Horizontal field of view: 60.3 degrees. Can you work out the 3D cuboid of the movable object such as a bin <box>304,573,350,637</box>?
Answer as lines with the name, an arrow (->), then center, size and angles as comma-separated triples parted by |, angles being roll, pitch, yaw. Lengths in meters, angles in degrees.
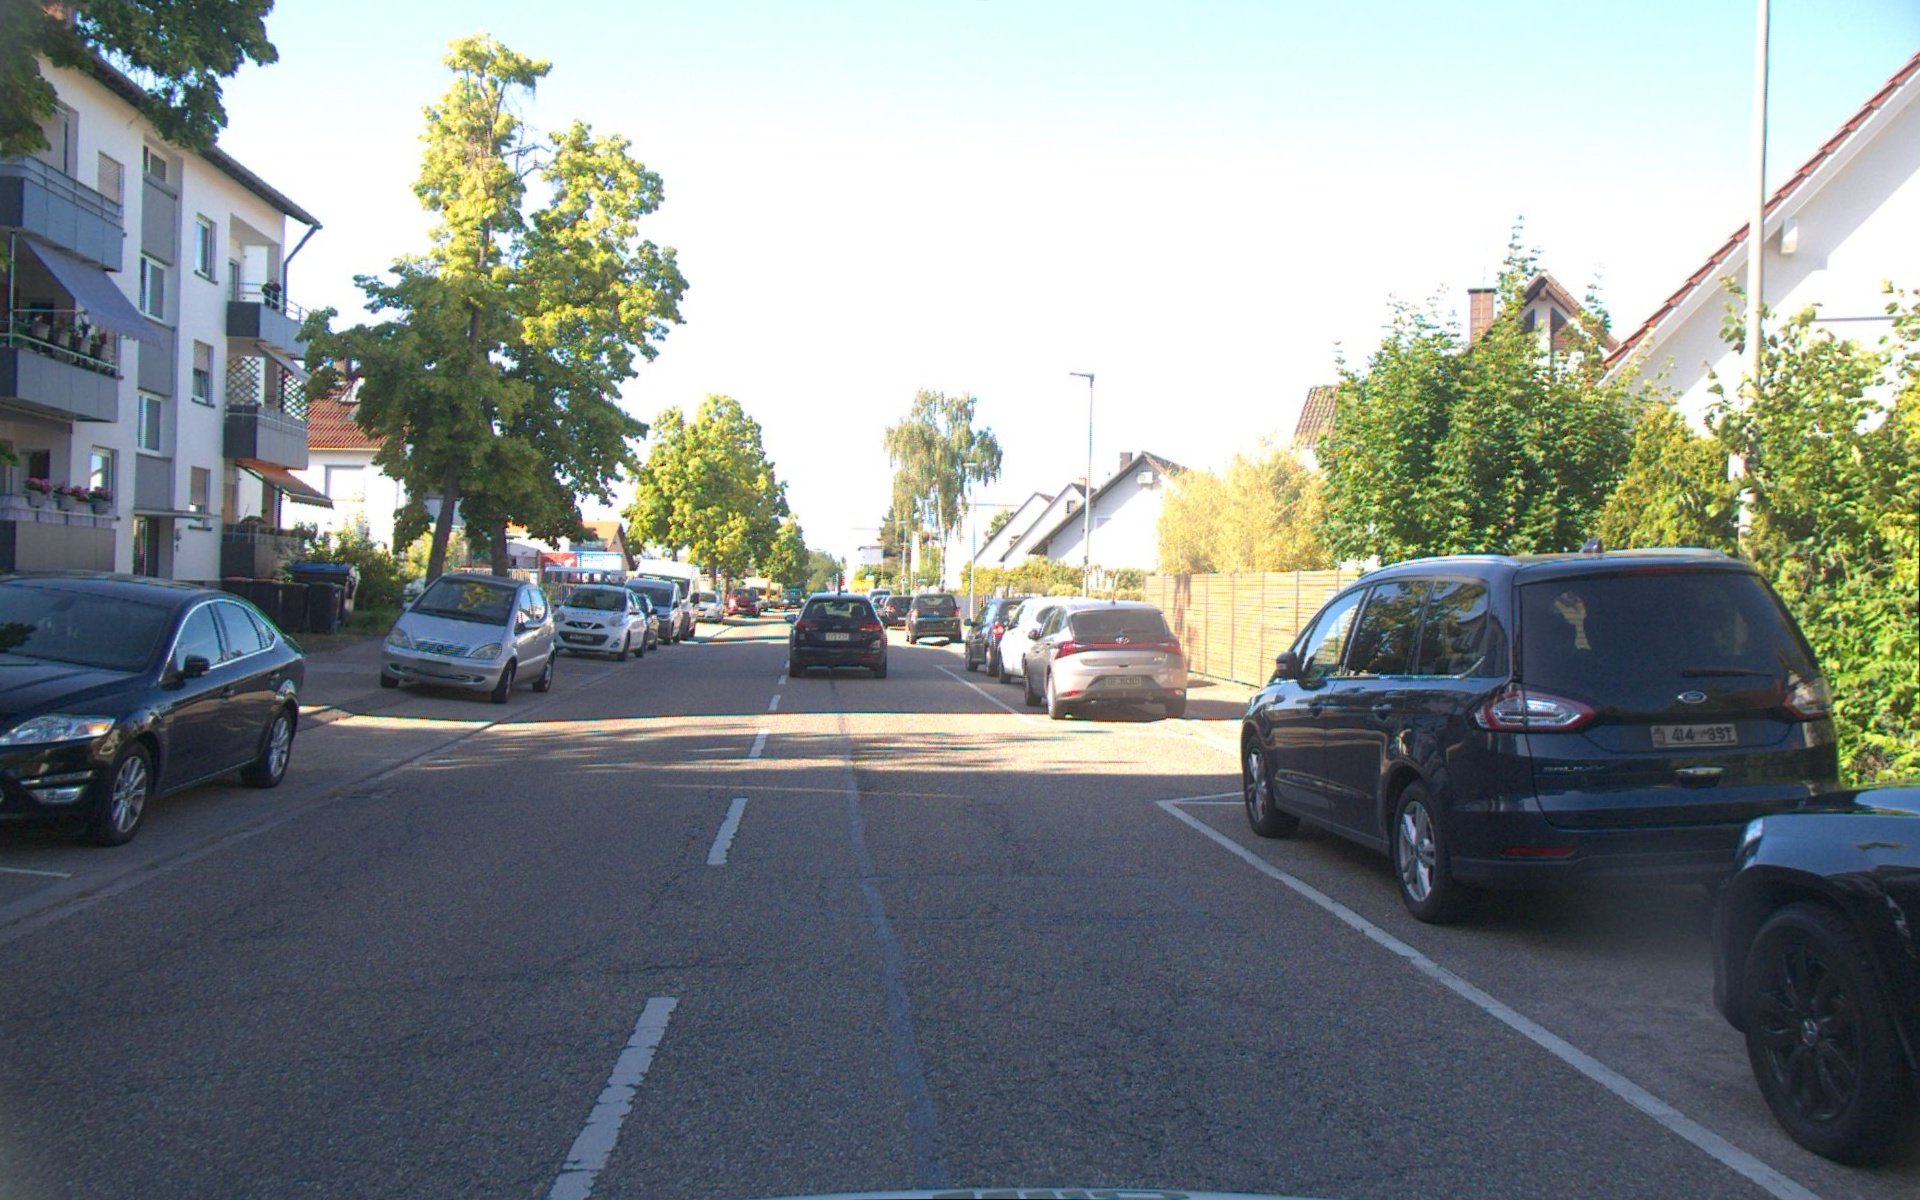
movable object such as a bin -> -13.047, 0.100, 34.079 | 0.673, 1.301, 0.671 | 1, 0, -3

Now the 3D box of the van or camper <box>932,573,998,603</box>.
van or camper -> 0.476, -1.102, 153.423 | 5.757, 2.586, 2.265 | 1, 0, -32

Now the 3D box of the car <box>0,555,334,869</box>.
car -> -5.708, 0.553, 10.935 | 1.690, 1.519, 4.537 | 7, 0, -6

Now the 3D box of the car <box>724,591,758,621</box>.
car -> -13.660, 0.370, 103.382 | 1.768, 1.783, 4.337 | 3, 0, -5

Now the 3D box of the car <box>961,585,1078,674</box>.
car -> 1.135, 0.539, 33.026 | 1.626, 1.628, 3.809 | 2, 0, -8

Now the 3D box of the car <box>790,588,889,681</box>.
car -> -2.184, 0.583, 30.218 | 1.678, 1.559, 3.684 | 1, 0, -4

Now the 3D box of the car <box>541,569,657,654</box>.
car -> -7.686, 0.223, 35.560 | 1.659, 1.593, 3.905 | 4, 0, -2

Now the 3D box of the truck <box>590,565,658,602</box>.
truck -> -31.246, -1.537, 153.981 | 5.549, 3.173, 2.524 | 3, 0, 6

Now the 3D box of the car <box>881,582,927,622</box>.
car -> -2.543, 0.072, 74.235 | 1.742, 1.688, 3.811 | 2, 0, -7

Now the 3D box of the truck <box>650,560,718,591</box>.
truck -> -26.173, -2.341, 156.921 | 5.796, 2.612, 2.225 | 3, 0, 6

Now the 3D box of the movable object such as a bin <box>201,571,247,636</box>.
movable object such as a bin -> -15.091, 0.071, 33.940 | 0.626, 1.301, 0.671 | 1, 0, -2

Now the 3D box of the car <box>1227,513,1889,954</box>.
car -> 2.906, 0.555, 9.207 | 1.709, 1.845, 4.424 | 1, 0, -6

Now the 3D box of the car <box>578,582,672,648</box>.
car -> -8.392, 0.351, 41.765 | 1.577, 1.460, 4.311 | 4, 0, -2

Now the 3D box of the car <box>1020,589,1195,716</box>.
car -> 1.873, 0.628, 22.086 | 1.610, 1.520, 3.884 | 1, 0, -6

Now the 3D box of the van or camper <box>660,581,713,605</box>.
van or camper -> -25.392, -0.645, 153.453 | 4.449, 2.049, 2.251 | 1, 0, 1

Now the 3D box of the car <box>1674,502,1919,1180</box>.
car -> 3.369, 0.625, 3.241 | 1.728, 1.705, 4.390 | 1, 0, -5

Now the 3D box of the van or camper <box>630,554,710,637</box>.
van or camper -> -9.681, -0.162, 55.584 | 2.082, 2.533, 5.549 | 3, 0, -6

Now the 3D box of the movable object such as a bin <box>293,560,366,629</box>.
movable object such as a bin -> -14.202, -0.119, 37.289 | 1.206, 1.508, 1.115 | 1, 0, -3

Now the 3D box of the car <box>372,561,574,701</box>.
car -> -6.737, 0.400, 23.304 | 1.688, 1.620, 3.906 | 7, 0, -3

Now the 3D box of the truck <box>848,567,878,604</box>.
truck -> -8.241, -1.176, 140.225 | 2.356, 2.988, 7.008 | -1, 0, -5

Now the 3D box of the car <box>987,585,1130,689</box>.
car -> 1.627, 0.585, 28.589 | 1.692, 1.628, 3.809 | 2, 0, -8

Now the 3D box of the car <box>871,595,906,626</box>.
car -> -3.830, 0.551, 88.230 | 1.685, 1.531, 3.560 | 2, 0, -5

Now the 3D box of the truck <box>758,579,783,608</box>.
truck -> -20.747, -0.690, 181.149 | 2.356, 3.035, 6.367 | 3, 0, -5

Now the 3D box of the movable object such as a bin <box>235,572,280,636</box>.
movable object such as a bin -> -14.432, 0.076, 33.991 | 0.626, 1.301, 0.671 | 1, 0, -2

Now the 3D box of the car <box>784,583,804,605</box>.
car -> -16.078, -0.600, 160.257 | 1.857, 2.067, 4.813 | 0, 0, -5

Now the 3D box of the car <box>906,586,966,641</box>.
car -> -0.829, 0.430, 54.850 | 1.741, 1.688, 4.300 | 2, 0, -4

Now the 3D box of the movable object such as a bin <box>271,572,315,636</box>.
movable object such as a bin -> -13.727, 0.082, 34.047 | 0.626, 1.301, 0.671 | 1, 0, -2

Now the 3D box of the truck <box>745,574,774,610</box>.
truck -> -18.087, -0.726, 149.676 | 2.357, 3.035, 7.236 | 3, 0, -6

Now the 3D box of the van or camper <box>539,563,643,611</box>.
van or camper -> -19.440, -0.670, 87.291 | 4.788, 2.361, 2.245 | 2, -1, 8

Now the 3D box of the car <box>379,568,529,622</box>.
car -> -15.580, -0.140, 51.096 | 1.582, 1.540, 4.373 | 2, 0, 35

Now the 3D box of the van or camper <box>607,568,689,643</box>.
van or camper -> -9.155, 0.143, 48.852 | 1.841, 2.049, 4.275 | 2, 0, -4

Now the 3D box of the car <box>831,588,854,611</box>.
car -> -9.149, -0.016, 128.982 | 1.783, 1.699, 3.640 | 0, -1, -4

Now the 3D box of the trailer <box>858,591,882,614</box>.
trailer -> -6.337, 0.170, 116.213 | 1.595, 1.565, 3.195 | 1, 0, -4

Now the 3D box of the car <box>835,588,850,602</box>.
car -> -15.628, -0.640, 219.989 | 1.881, 1.857, 4.075 | 1, 0, -5

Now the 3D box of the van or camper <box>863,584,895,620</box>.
van or camper -> -4.614, 0.103, 93.812 | 1.685, 1.923, 4.175 | 2, 0, -5

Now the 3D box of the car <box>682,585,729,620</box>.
car -> -11.736, 0.095, 76.462 | 1.653, 1.460, 4.206 | 4, 0, -3
